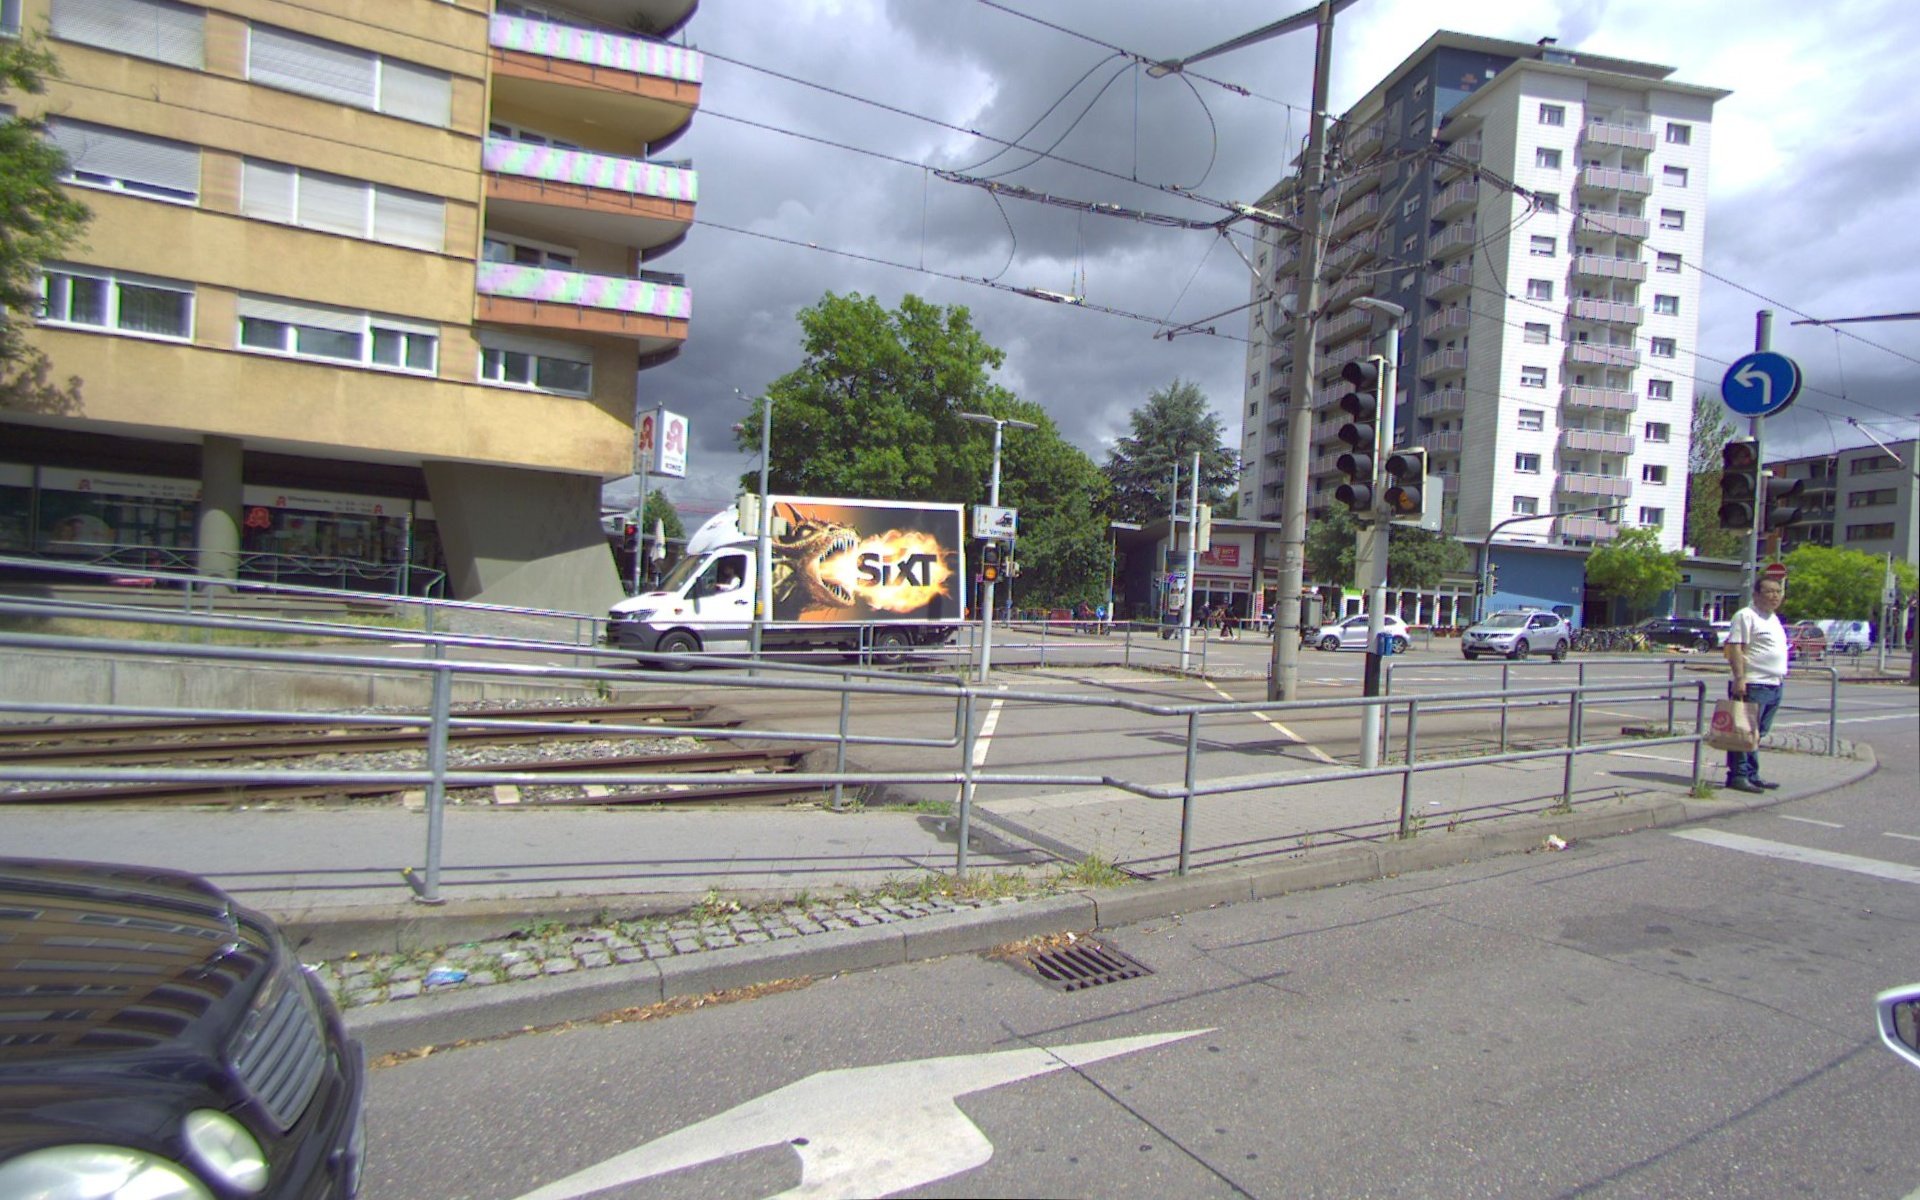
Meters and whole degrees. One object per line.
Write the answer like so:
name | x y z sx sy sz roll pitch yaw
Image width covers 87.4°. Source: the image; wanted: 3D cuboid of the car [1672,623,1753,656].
car | 40.365 2.076 54.027 1.921 1.591 4.220 2 0 13

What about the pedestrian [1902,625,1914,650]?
pedestrian | 67.431 2.680 71.430 0.401 1.739 0.542 1 1 -39

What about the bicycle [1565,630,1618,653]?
bicycle | 28.145 1.842 44.808 0.490 0.947 1.933 2 0 -35

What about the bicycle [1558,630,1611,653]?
bicycle | 27.682 1.827 44.529 0.490 0.947 1.933 2 0 -35

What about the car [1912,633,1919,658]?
car | 56.131 2.596 57.397 4.209 1.433 1.619 0 0 -34

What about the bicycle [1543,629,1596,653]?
bicycle | 26.494 1.787 43.665 0.490 0.947 1.933 2 0 -35

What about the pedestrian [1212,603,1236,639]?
pedestrian | 12.194 0.975 46.390 0.693 1.637 0.760 1 1 -43

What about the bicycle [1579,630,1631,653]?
bicycle | 29.091 1.873 45.338 0.490 0.947 1.933 2 0 -35

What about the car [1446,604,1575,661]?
car | 18.556 1.088 33.829 4.462 1.825 1.982 1 -1 -33

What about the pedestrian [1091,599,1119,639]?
pedestrian | 6.253 0.829 43.395 0.977 1.681 0.969 2 -1 -4

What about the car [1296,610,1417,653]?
car | 15.019 1.181 38.201 3.919 1.416 1.699 2 0 7

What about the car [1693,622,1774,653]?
car | 42.967 2.061 55.915 1.921 1.558 4.220 2 0 13

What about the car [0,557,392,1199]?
car | -3.106 0.635 0.896 4.490 1.481 1.720 2 0 -30

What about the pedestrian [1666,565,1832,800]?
pedestrian | 6.571 0.639 8.380 0.734 1.832 0.863 1 1 -34

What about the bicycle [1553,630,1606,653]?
bicycle | 27.297 1.814 44.256 0.490 0.947 1.933 2 0 -35

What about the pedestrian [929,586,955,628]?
pedestrian | -0.722 0.271 40.823 0.770 1.638 0.759 -1 5 -29

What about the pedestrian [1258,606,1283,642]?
pedestrian | 14.815 1.137 47.925 0.765 1.636 0.765 7 1 1

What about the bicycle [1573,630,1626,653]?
bicycle | 28.659 1.859 45.041 0.490 0.947 1.933 2 0 -35

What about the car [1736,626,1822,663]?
car | 38.079 2.043 46.652 4.415 1.656 1.981 1 -1 -35

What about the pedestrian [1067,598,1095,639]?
pedestrian | 5.196 0.795 43.136 0.977 1.681 0.969 2 -1 -4

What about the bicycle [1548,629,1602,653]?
bicycle | 26.890 1.800 43.949 0.490 0.947 1.933 2 0 -35

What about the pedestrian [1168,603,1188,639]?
pedestrian | 10.044 0.953 46.383 0.685 1.637 0.769 2 0 -3

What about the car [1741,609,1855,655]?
car | 49.958 1.850 60.147 2.776 2.512 6.724 2 0 17

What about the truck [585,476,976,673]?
truck | -3.353 -0.415 19.674 7.181 3.266 2.401 0 1 -32

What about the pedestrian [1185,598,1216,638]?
pedestrian | 12.140 0.913 50.703 1.200 1.942 0.860 1 1 -30
